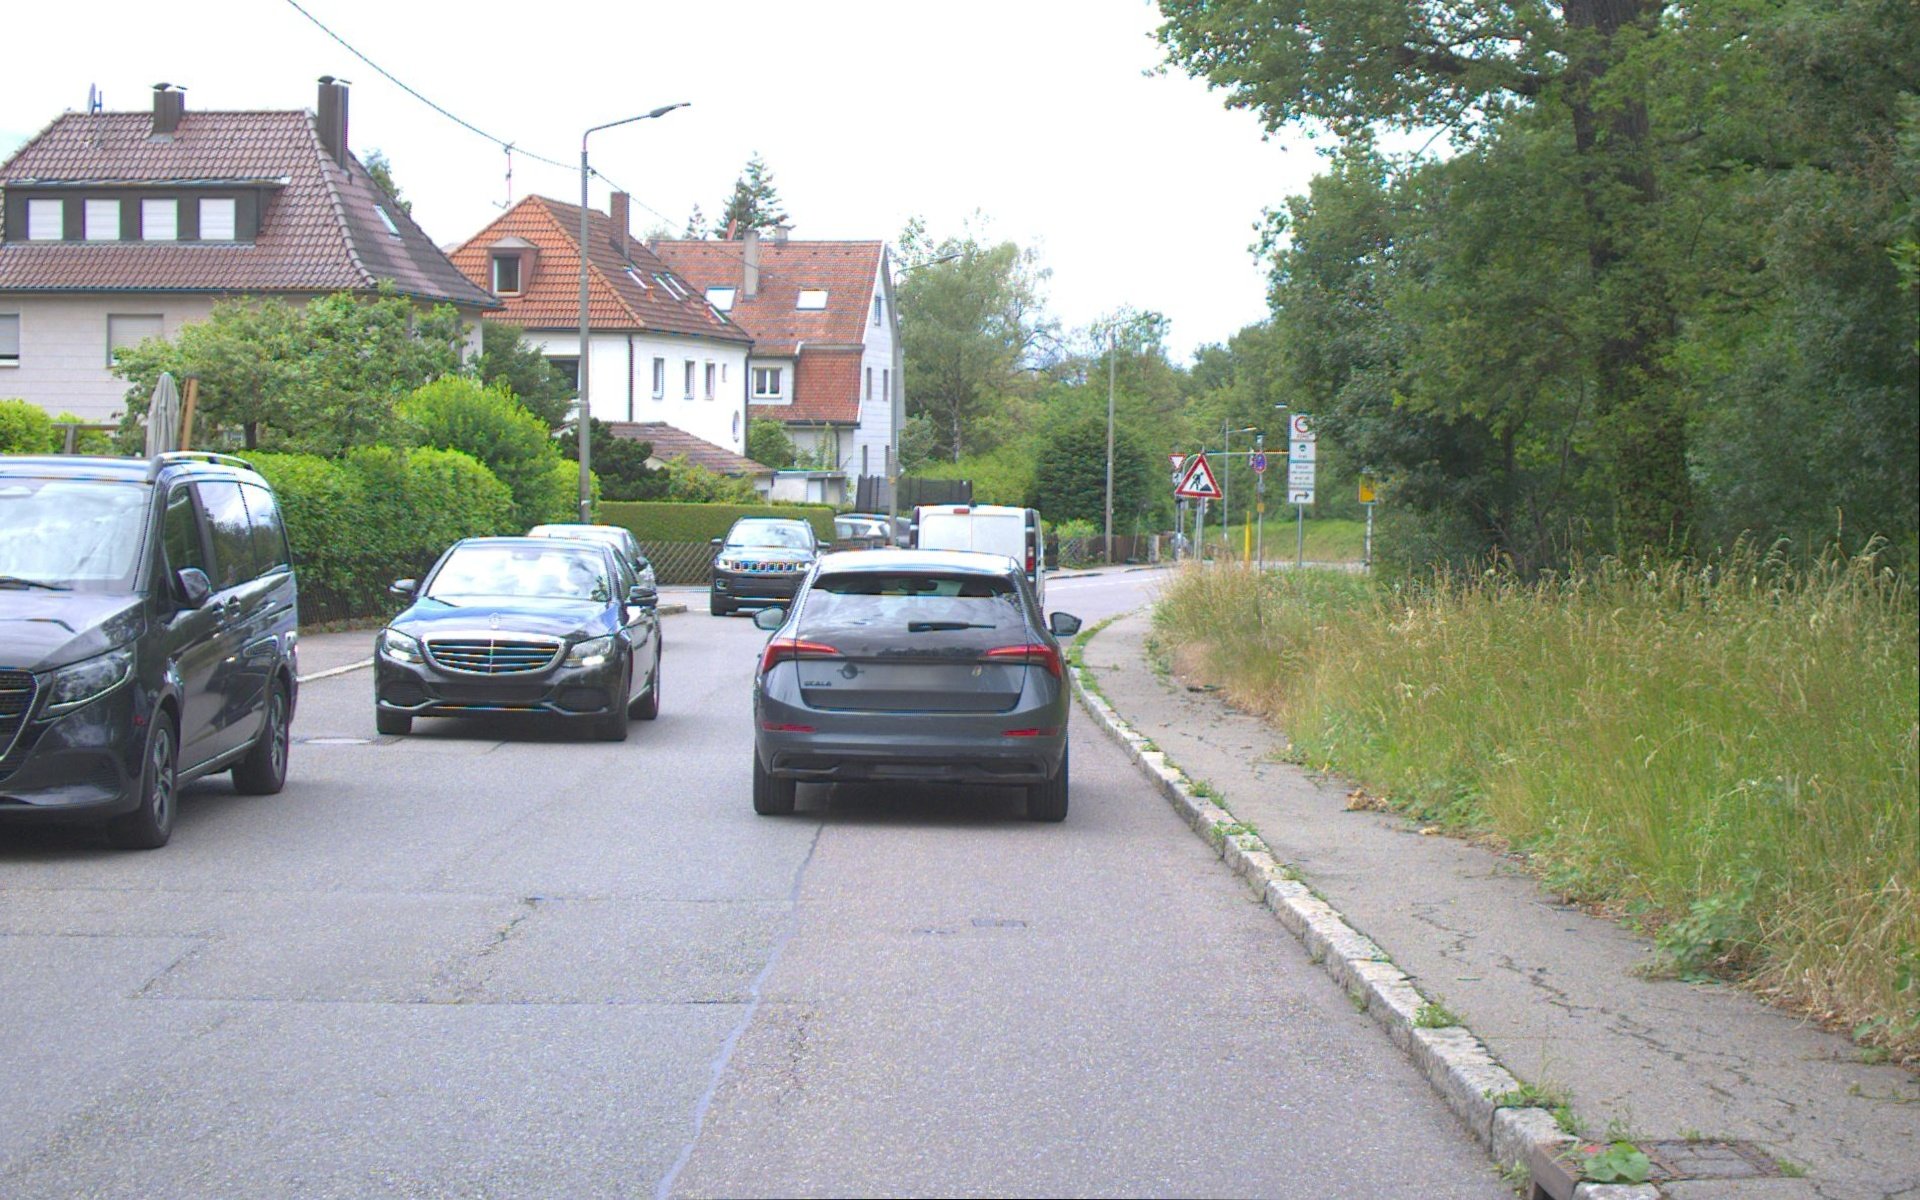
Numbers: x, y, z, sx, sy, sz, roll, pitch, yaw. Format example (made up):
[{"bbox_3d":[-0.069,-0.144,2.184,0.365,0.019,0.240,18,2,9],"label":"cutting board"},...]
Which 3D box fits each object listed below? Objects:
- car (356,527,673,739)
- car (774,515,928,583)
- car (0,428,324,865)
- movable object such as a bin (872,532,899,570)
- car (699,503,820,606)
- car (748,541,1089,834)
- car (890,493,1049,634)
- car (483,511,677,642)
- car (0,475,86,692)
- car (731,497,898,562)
[{"bbox_3d":[-3.283,0.183,26.168,1.863,1.409,4.592,2,1,-1],"label":"car"},{"bbox_3d":[-2.919,-1.384,92.872,3.987,1.700,1.916,2,1,2],"label":"car"},{"bbox_3d":[-4.664,0.135,17.758,1.863,1.919,5.038,2,1,-1],"label":"car"},{"bbox_3d":[-1.847,-1.216,85.301,0.599,0.947,0.579,1,1,6],"label":"movable object such as a bin"},{"bbox_3d":[-3.355,-0.802,58.144,1.833,1.591,4.324,2,2,-1],"label":"car"},{"bbox_3d":[-0.333,0.419,19.954,1.727,1.434,4.324,2,1,-3],"label":"car"},{"bbox_3d":[0.194,-0.562,50.723,2.072,1.915,4.922,2,1,3],"label":"car"},{"bbox_3d":[-4.690,-0.320,42.950,1.783,1.495,4.015,2,1,2],"label":"car"},{"bbox_3d":[-9.563,-0.180,27.630,4.615,1.691,2.000,1,1,-4],"label":"car"},{"bbox_3d":[-3.738,-1.827,88.892,3.988,1.612,1.999,1,1,9],"label":"car"}]
